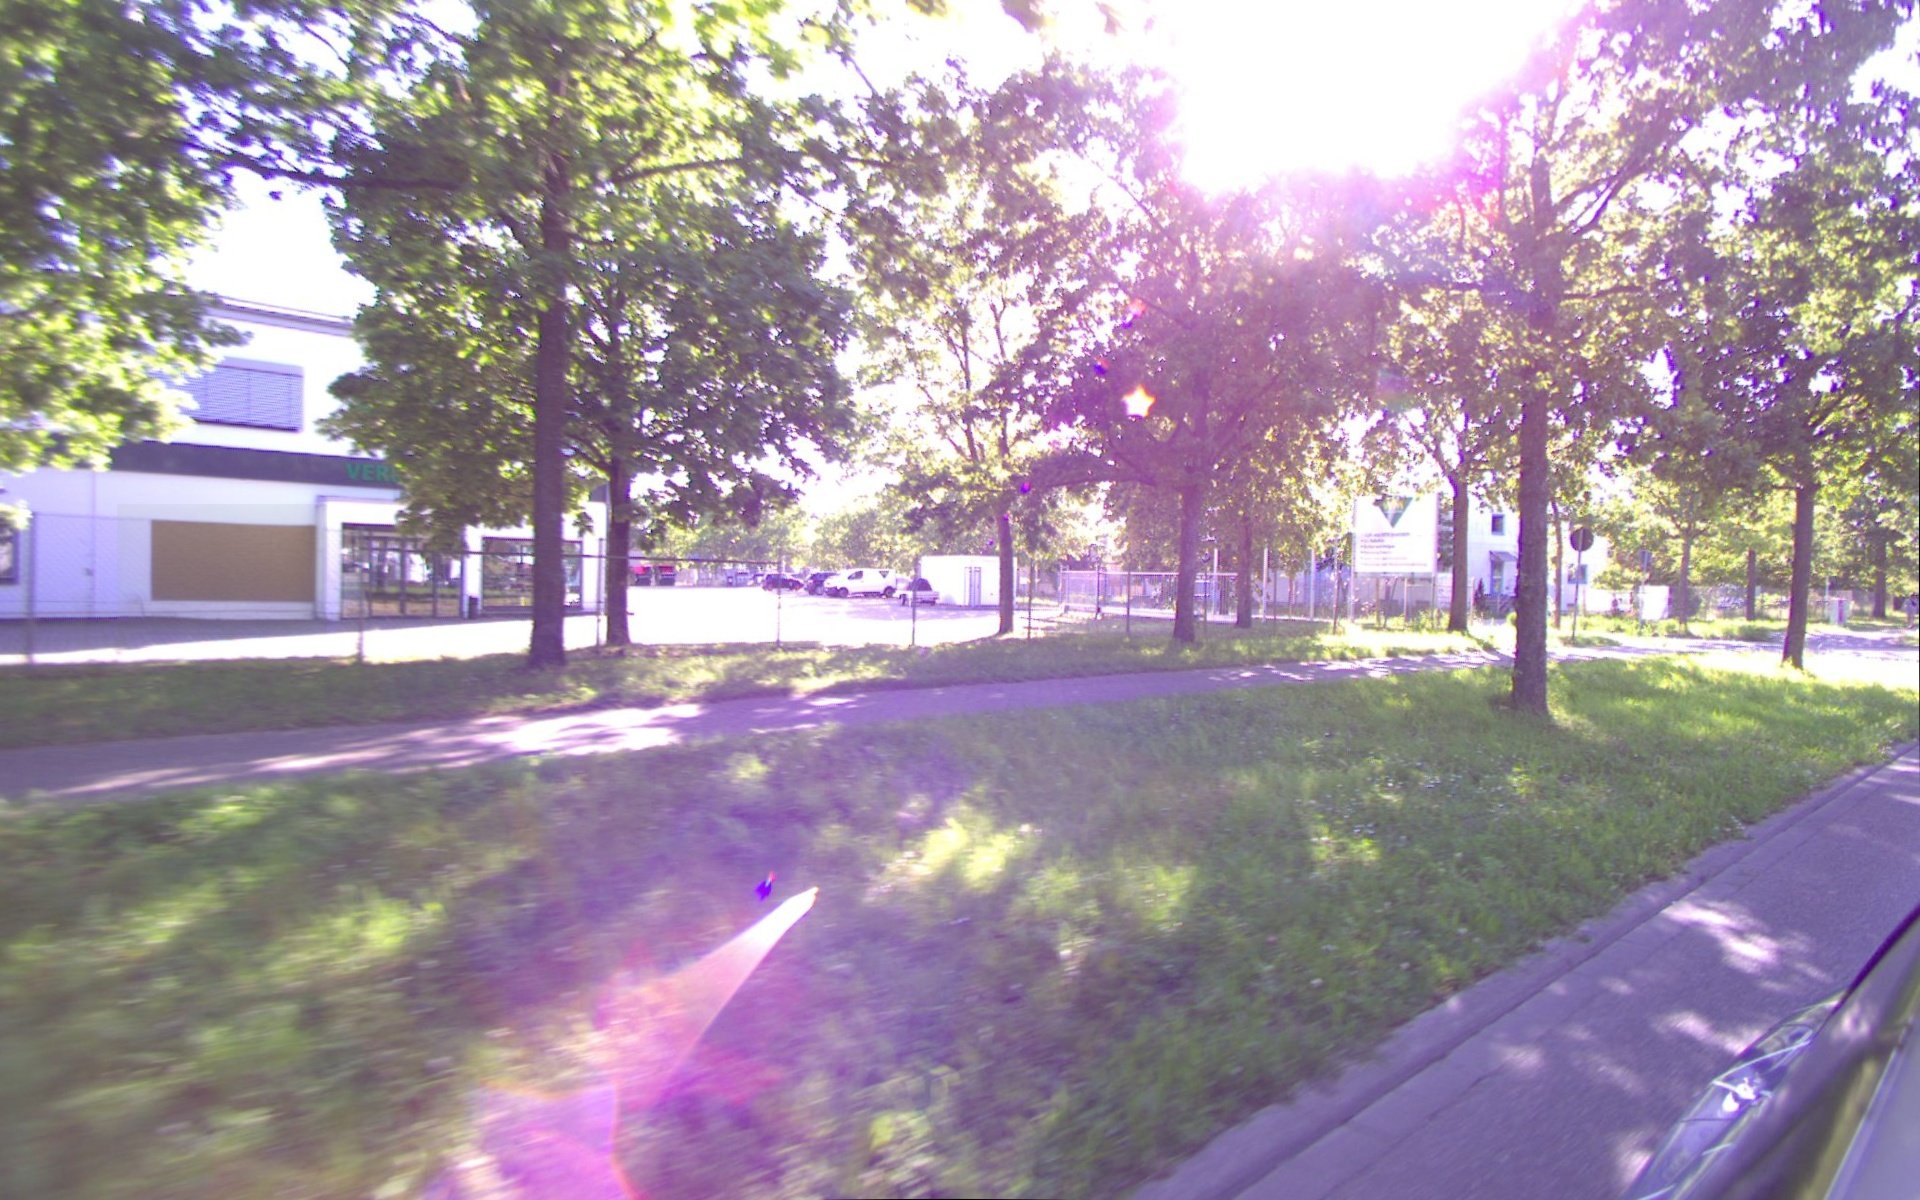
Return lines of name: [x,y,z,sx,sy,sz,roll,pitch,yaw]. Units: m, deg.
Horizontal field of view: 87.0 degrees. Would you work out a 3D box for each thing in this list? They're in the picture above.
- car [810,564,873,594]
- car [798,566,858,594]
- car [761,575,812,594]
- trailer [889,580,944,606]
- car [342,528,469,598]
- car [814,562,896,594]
car: [-8.215,-1.434,69.945,3.917,2.039,2.004,0,0,-23]
car: [-9.661,-1.457,73.988,3.917,2.039,2.004,0,0,-23]
car: [-14.688,-1.318,85.725,3.917,1.635,1.903,0,0,-23]
trailer: [-2.364,-0.382,53.803,1.695,1.282,3.604,1,1,-24]
car: [-22.319,-1.451,40.800,4.112,2.665,1.997,0,1,-42]
car: [-6.958,-1.442,67.121,5.009,2.039,2.003,-1,0,-25]
